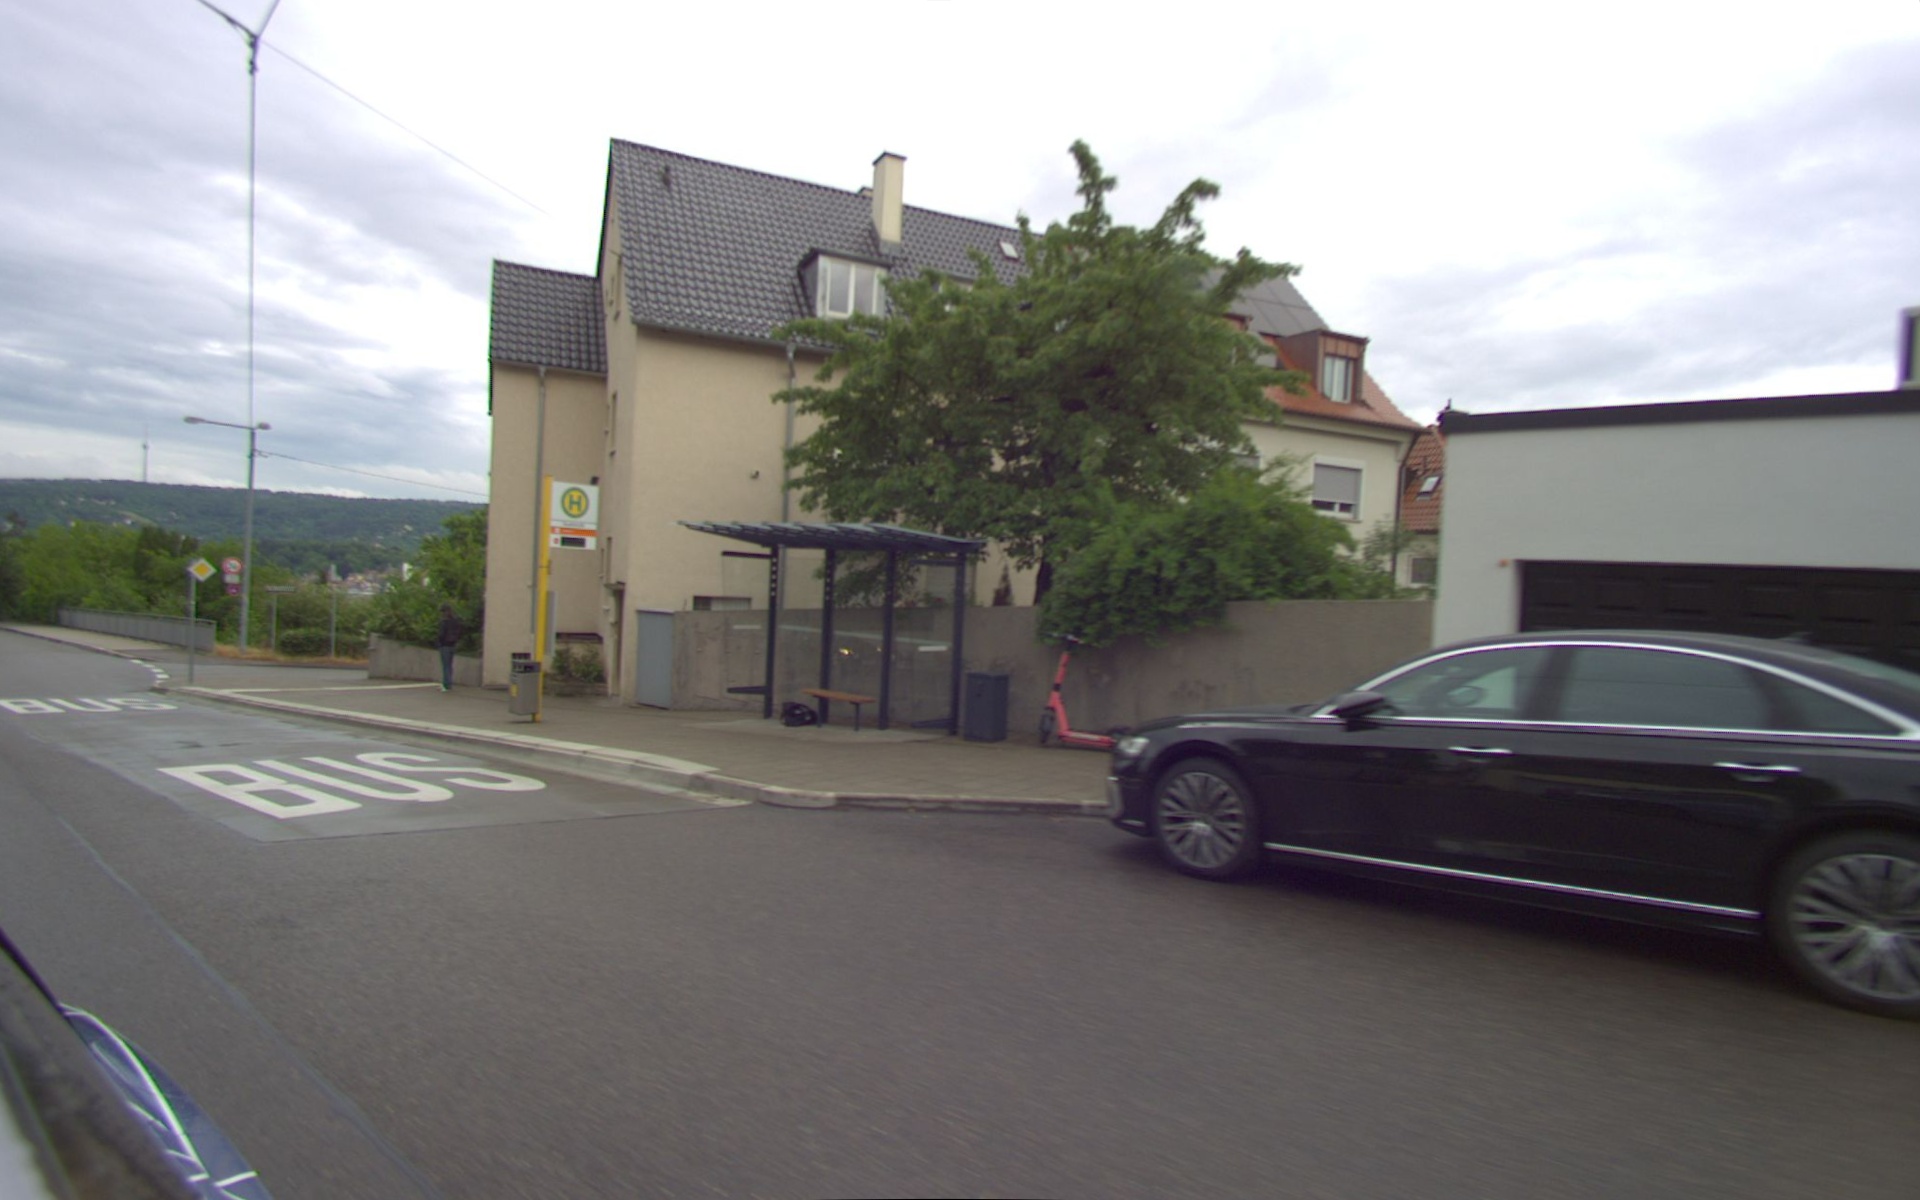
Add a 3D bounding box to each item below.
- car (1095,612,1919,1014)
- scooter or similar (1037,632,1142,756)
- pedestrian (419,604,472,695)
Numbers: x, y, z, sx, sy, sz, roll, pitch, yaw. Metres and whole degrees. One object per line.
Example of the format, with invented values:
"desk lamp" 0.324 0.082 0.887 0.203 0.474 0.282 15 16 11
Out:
"car" 3.274 0.836 5.349 4.992 1.497 1.808 -1 -2 44
"scooter or similar" 1.356 0.970 10.733 1.122 1.229 0.334 -1 -1 42
"pedestrian" -10.818 1.012 21.293 0.727 1.871 0.778 0 0 41
